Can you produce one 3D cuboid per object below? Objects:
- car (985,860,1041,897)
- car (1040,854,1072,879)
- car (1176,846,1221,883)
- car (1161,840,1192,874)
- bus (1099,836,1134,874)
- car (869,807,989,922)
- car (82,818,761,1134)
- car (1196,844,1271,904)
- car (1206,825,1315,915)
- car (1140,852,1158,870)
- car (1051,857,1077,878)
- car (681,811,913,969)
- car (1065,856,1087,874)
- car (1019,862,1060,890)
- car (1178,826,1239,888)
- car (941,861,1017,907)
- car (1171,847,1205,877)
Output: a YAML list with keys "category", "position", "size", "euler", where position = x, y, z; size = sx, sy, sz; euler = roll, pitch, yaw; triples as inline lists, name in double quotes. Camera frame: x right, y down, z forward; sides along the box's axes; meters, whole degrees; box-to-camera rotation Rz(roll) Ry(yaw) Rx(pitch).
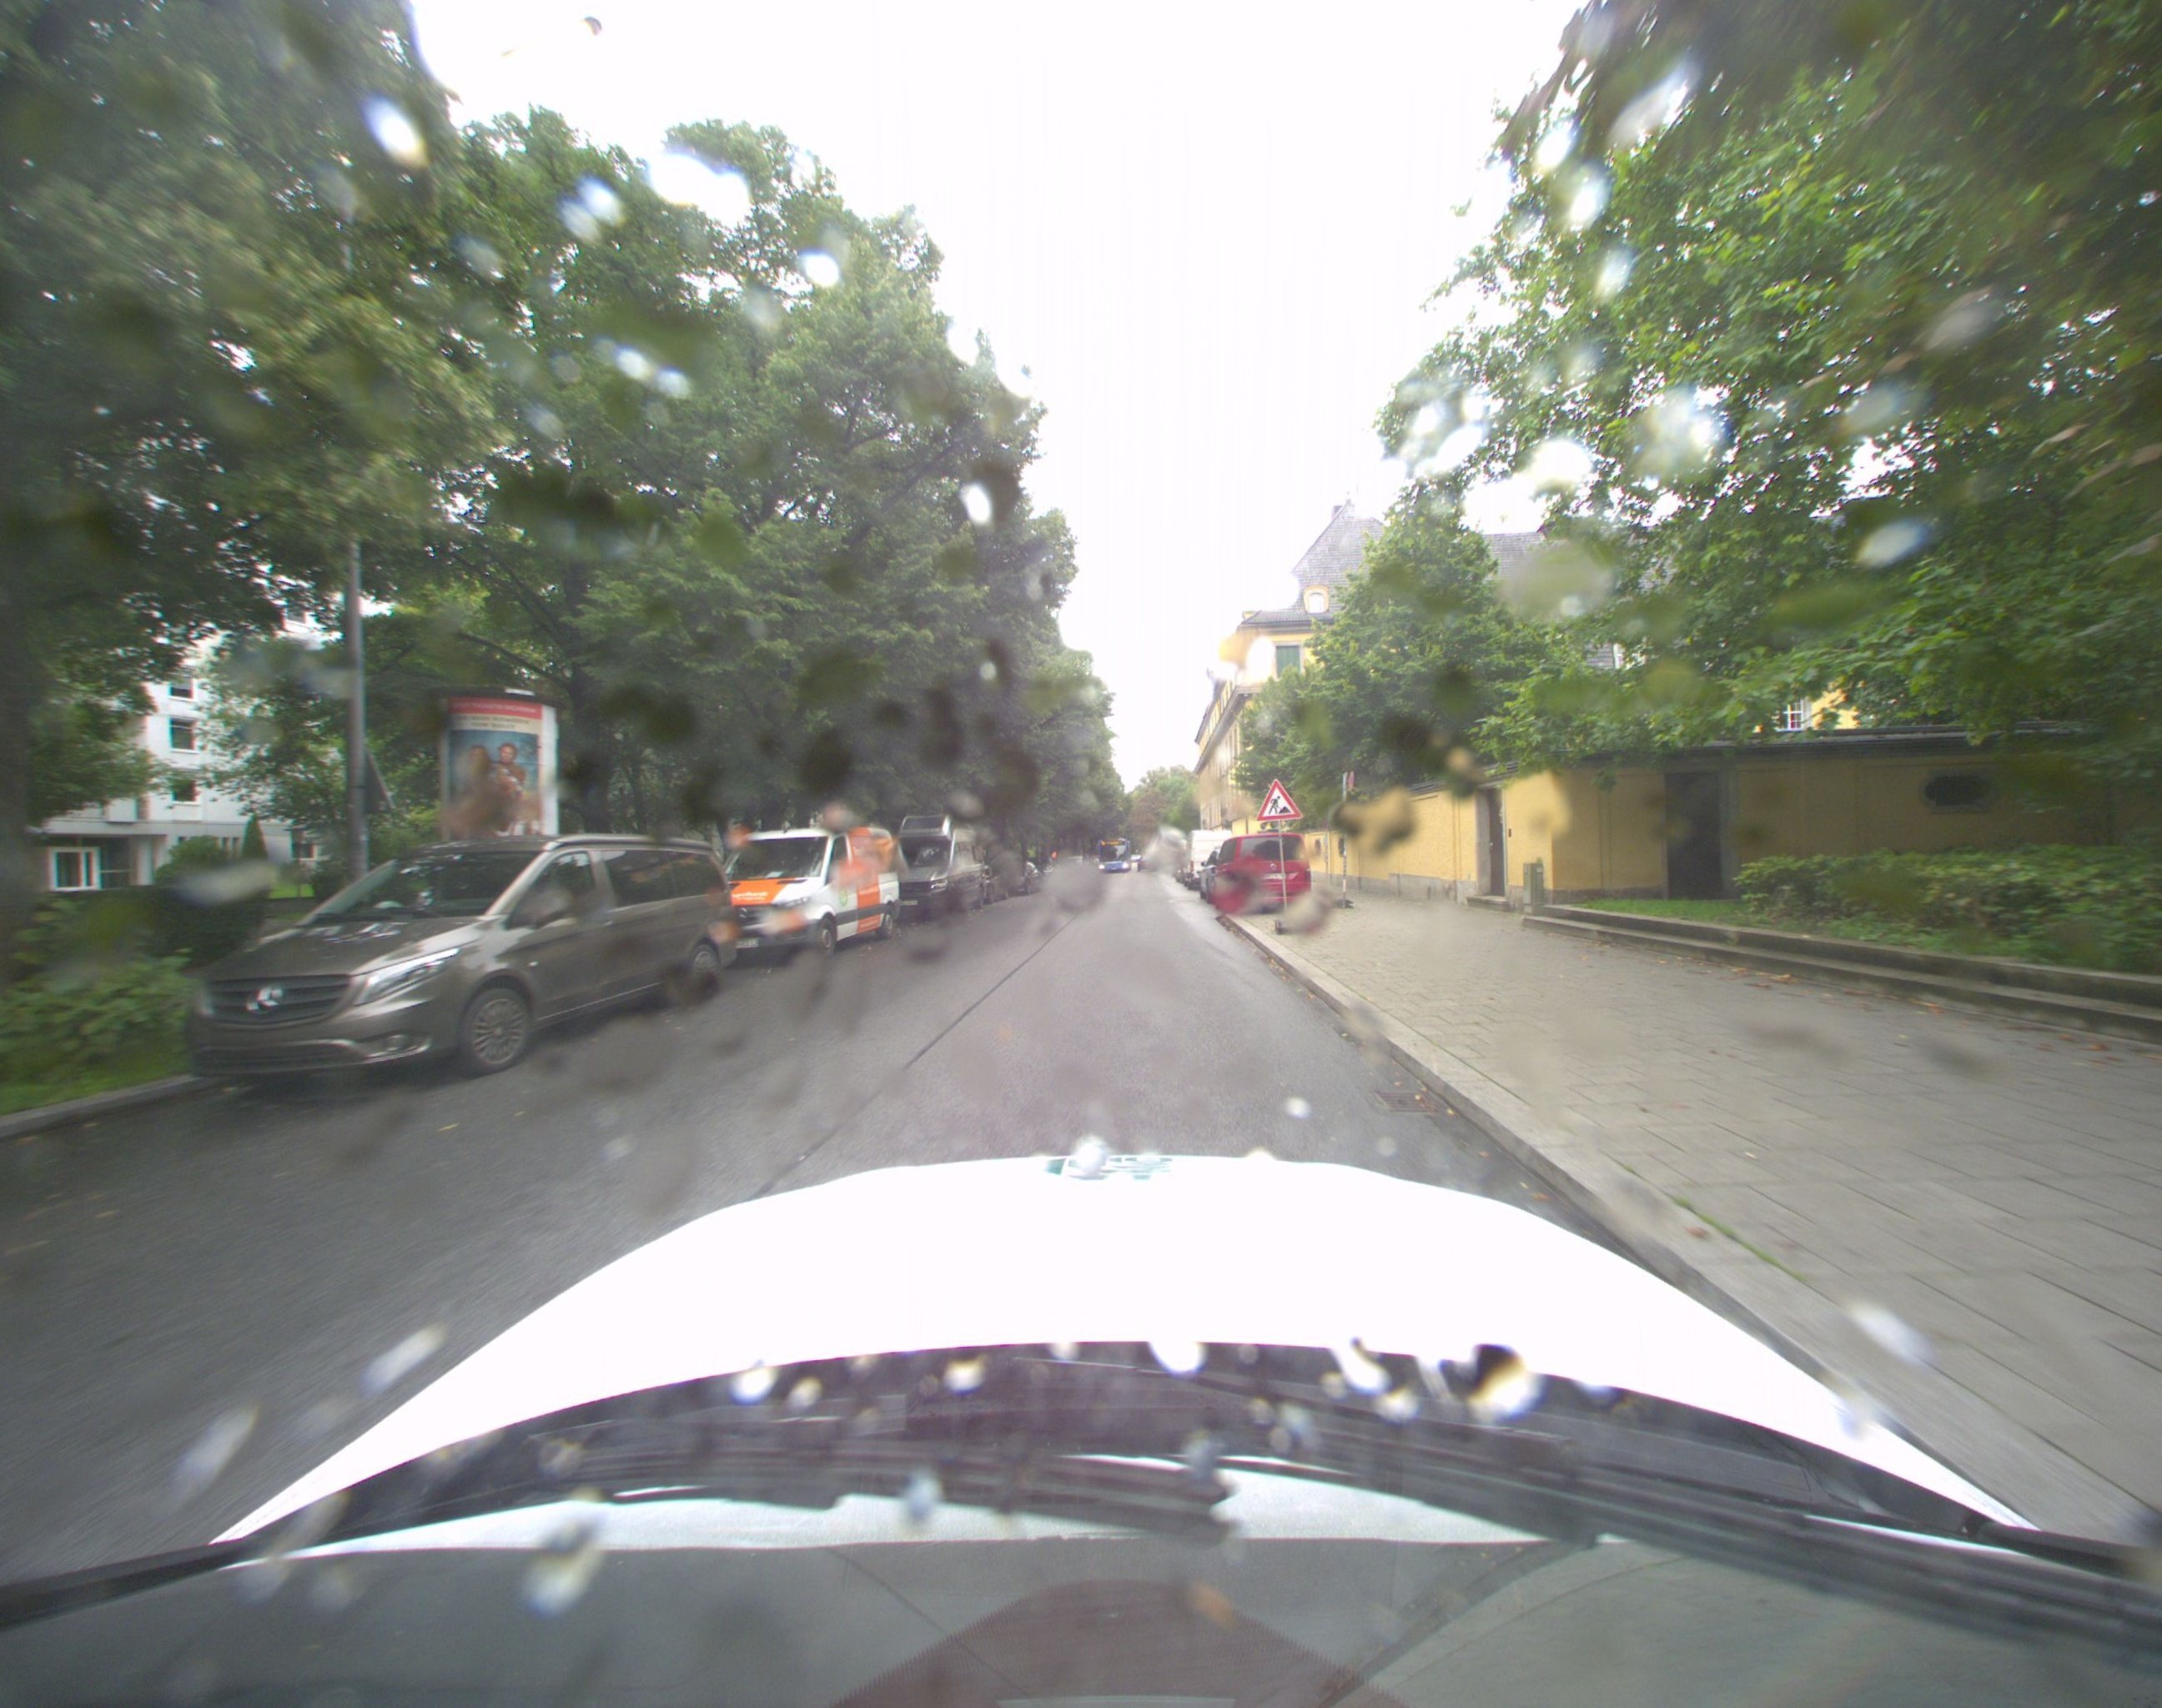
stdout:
- category: "car"
  position: [-2.870, 1.050, 35.372]
  size: [1.782, 1.438, 4.554]
  euler: [-2, -1, 3]
- category: "car"
  position: [-1.670, 0.845, 55.557]
  size: [1.776, 1.597, 4.588]
  euler: [-2, -1, 3]
- category: "car"
  position: [6.296, 0.543, 44.121]
  size: [2.005, 1.906, 5.168]
  euler: [-1, 0, 3]
- category: "car"
  position: [8.052, 0.270, 69.337]
  size: [2.046, 2.673, 7.619]
  euler: [-2, -1, 3]
- category: "bus"
  position: [3.693, 0.249, 79.620]
  size: [2.847, 3.239, 18.443]
  euler: [-2, -1, 4]
- category: "car"
  position: [-4.233, 0.318, 23.813]
  size: [1.937, 2.854, 6.240]
  euler: [-2, -1, 3]
- category: "car"
  position: [-5.376, 0.794, 8.016]
  size: [1.937, 1.963, 5.464]
  euler: [-3, 0, 3]
- category: "car"
  position: [4.848, 0.608, 26.388]
  size: [1.850, 1.741, 4.607]
  euler: [-1, 0, 4]
- category: "car"
  position: [4.469, 0.414, 21.118]
  size: [1.851, 1.967, 5.449]
  euler: [-2, -1, 3]
- category: "car"
  position: [6.173, 0.632, 73.887]
  size: [1.570, 1.584, 4.050]
  euler: [-2, -1, 5]
- category: "car"
  position: [-1.258, 0.990, 61.719]
  size: [1.665, 1.469, 4.107]
  euler: [-2, -1, 3]
- category: "car"
  position: [-4.914, 0.598, 15.149]
  size: [2.105, 2.349, 5.412]
  euler: [-2, -1, 3]
- category: "car"
  position: [-0.432, 0.916, 71.290]
  size: [1.665, 1.469, 4.107]
  euler: [-2, -1, 3]
- category: "car"
  position: [-2.238, 1.190, 44.793]
  size: [1.782, 1.454, 3.952]
  euler: [-2, -1, 3]
- category: "car"
  position: [5.623, 0.184, 36.598]
  size: [2.086, 2.488, 5.744]
  euler: [-2, -1, 3]
- category: "car"
  position: [-3.692, 1.054, 30.293]
  size: [1.781, 1.438, 4.585]
  euler: [-2, 0, 5]
- category: "car"
  position: [7.209, 0.537, 55.183]
  size: [1.863, 1.869, 4.990]
  euler: [-2, -1, 3]
